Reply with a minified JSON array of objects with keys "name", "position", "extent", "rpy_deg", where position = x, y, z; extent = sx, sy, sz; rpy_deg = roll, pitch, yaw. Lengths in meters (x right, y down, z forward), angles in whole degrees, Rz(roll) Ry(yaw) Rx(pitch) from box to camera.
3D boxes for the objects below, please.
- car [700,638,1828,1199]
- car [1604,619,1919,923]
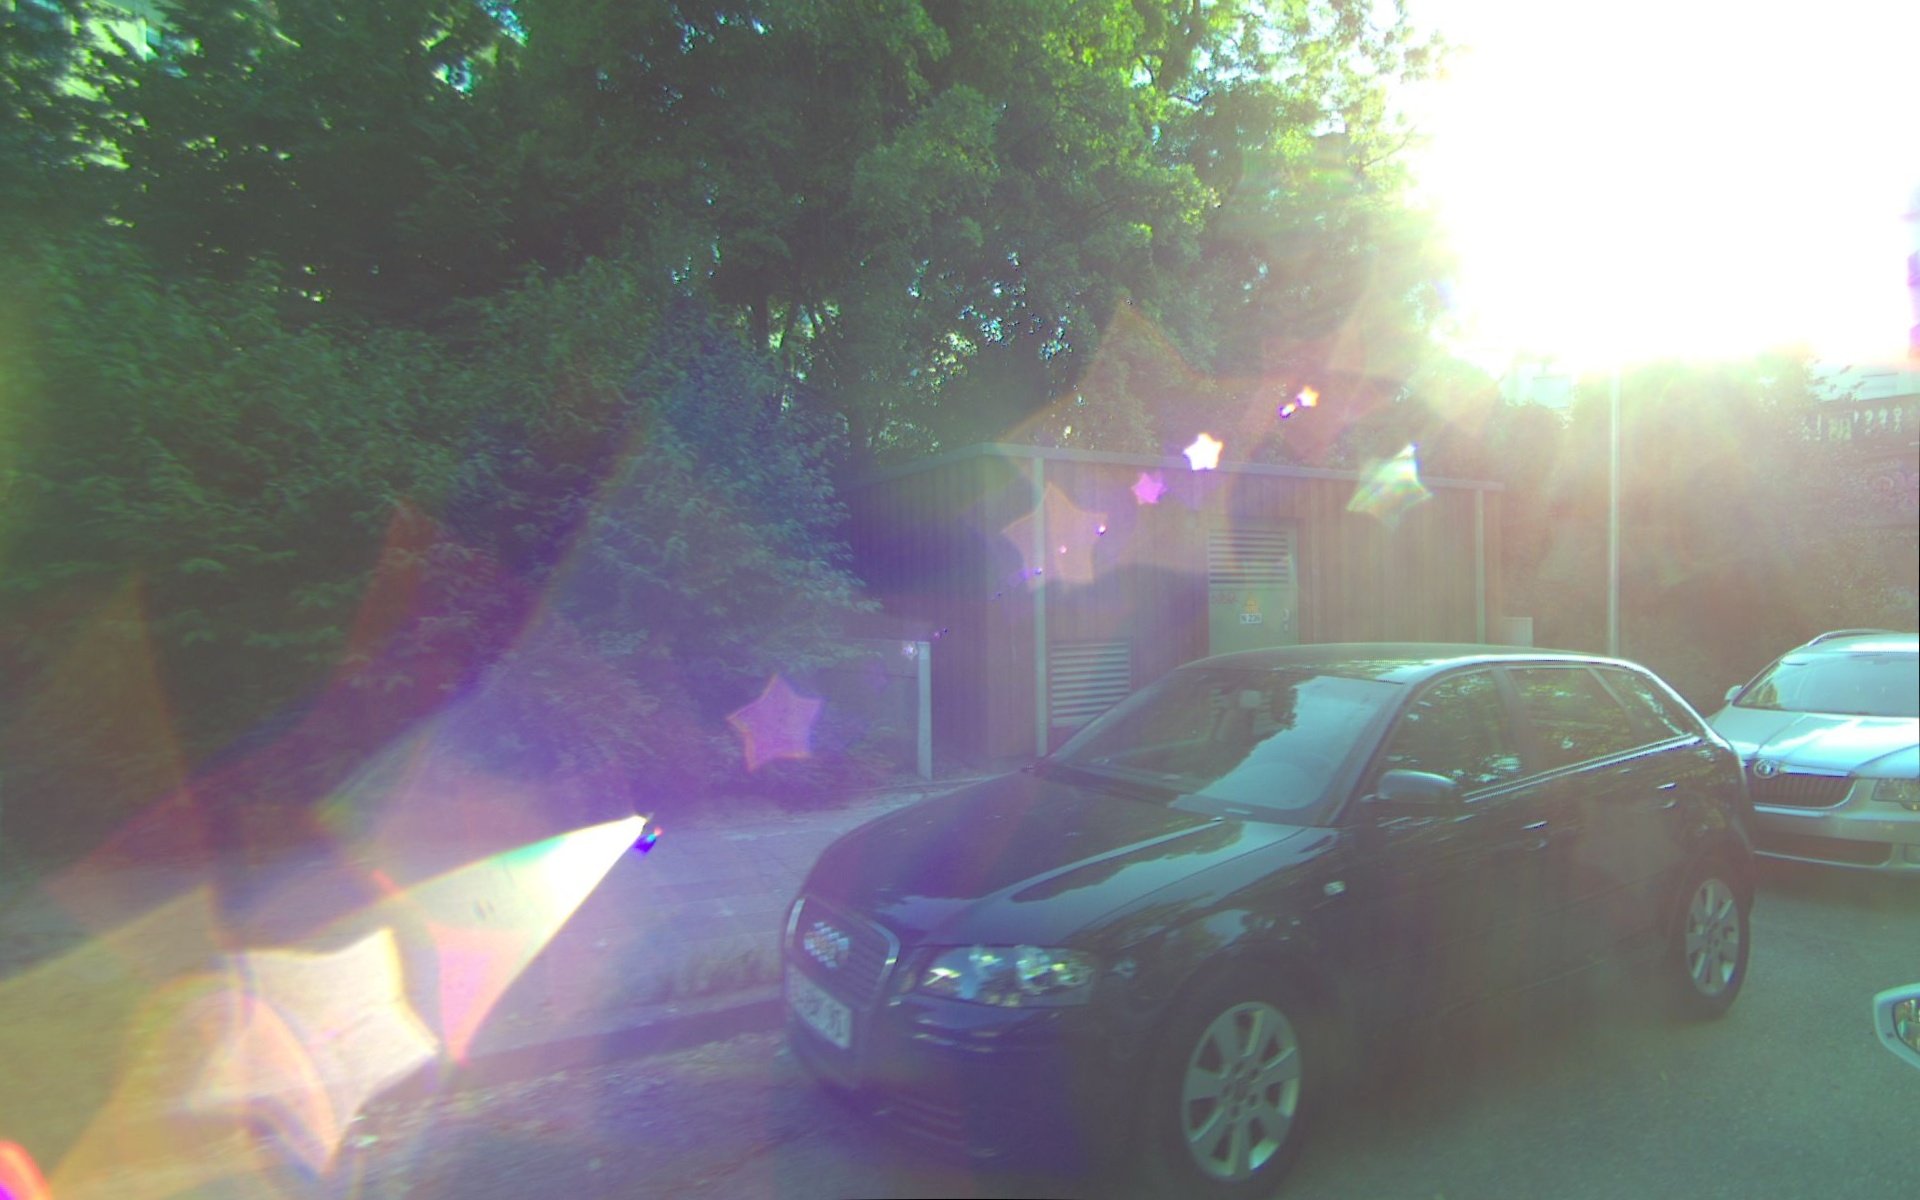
[{"name":"car","position":[1.304,0.861,3.785],"extent":[4.144,1.418,1.692],"rpy_deg":[1,-3,-30]},{"name":"car","position":[6.435,0.923,6.725],"extent":[4.496,1.517,1.692],"rpy_deg":[1,-3,-30]}]
